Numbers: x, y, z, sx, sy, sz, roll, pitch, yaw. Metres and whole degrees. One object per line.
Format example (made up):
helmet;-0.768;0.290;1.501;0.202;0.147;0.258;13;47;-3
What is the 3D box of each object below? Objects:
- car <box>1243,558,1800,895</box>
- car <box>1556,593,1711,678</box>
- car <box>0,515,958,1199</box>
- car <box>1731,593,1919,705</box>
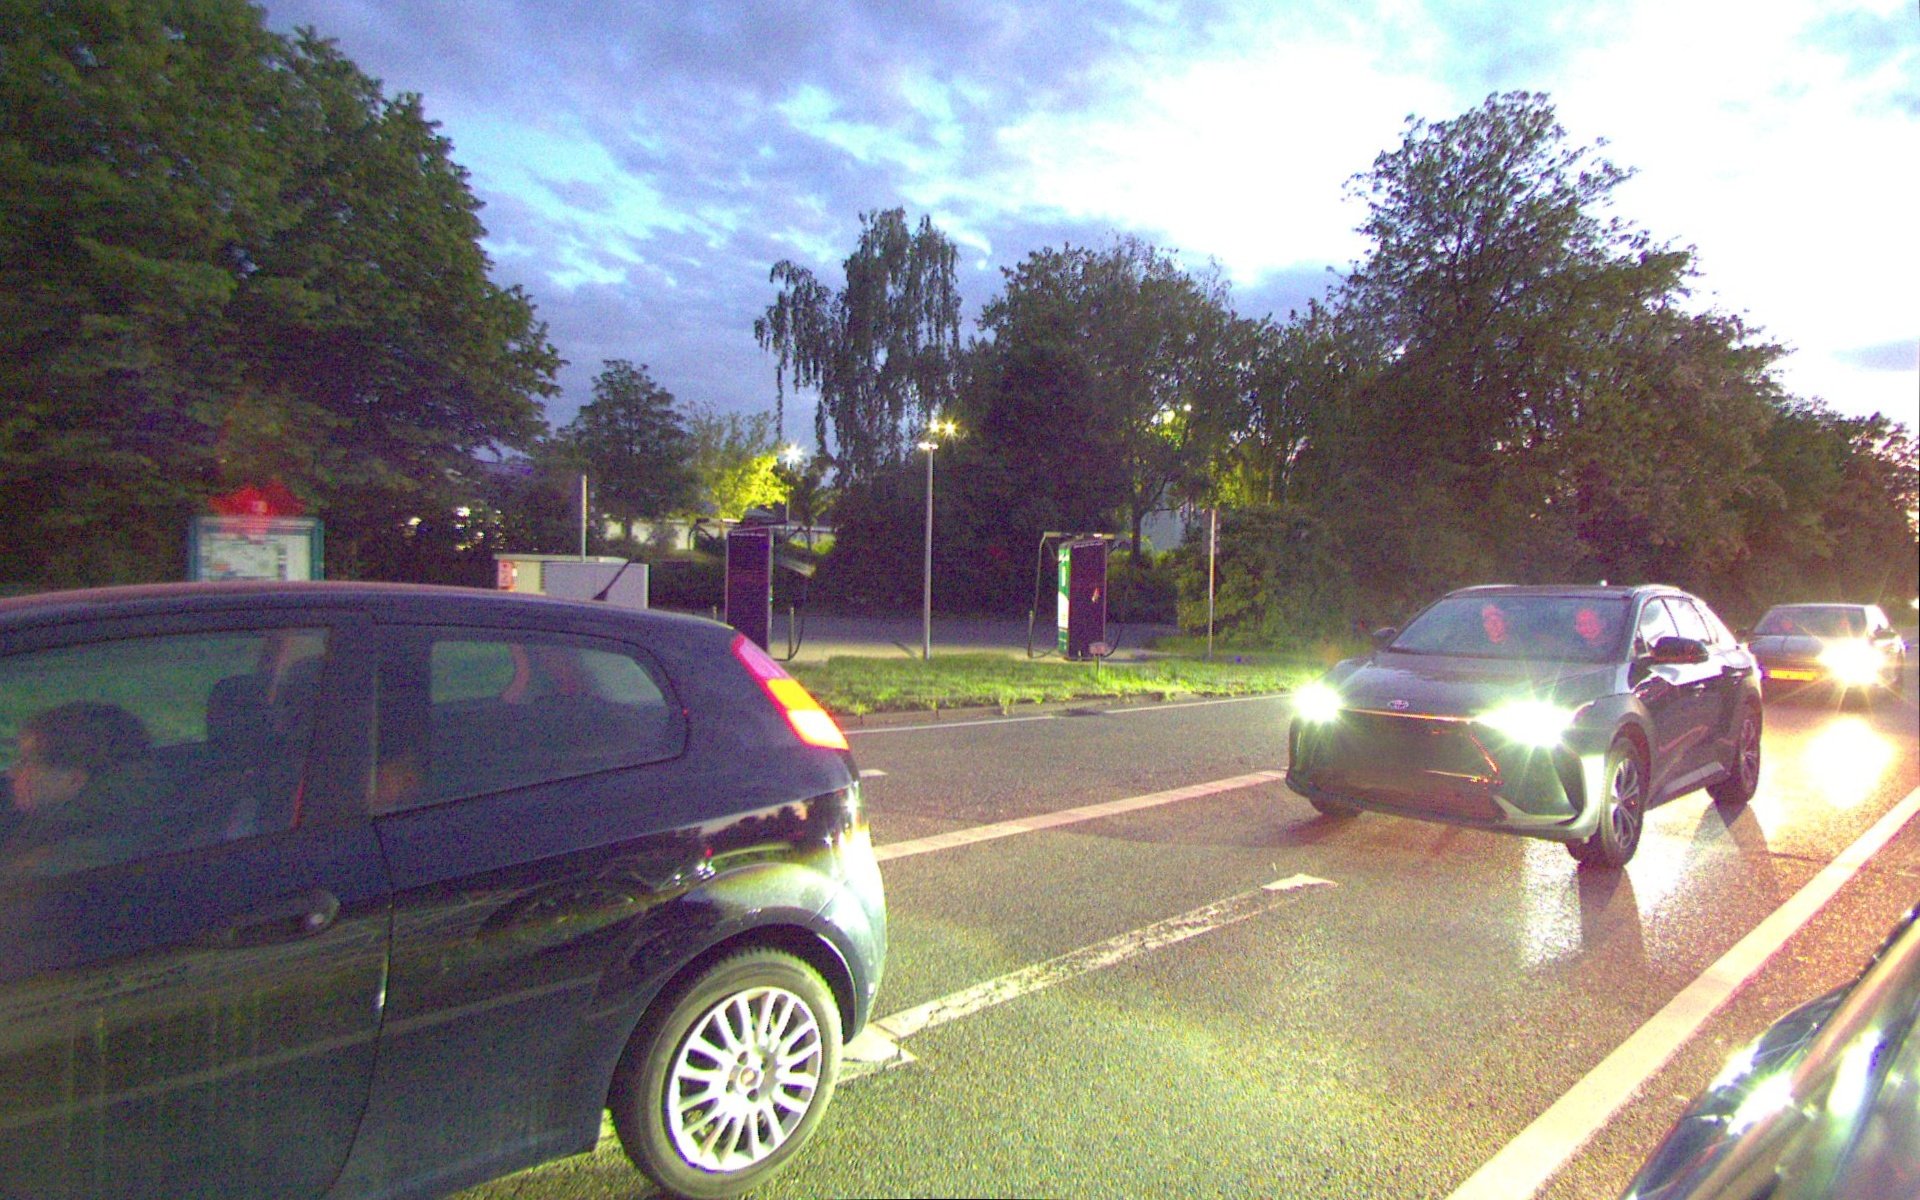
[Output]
car;4.186;0.599;7.171;4.629;1.630;1.997;0;0;-41
car;13.380;0.612;19.981;1.917;1.450;4.632;1;1;42
car;-2.089;0.626;2.144;4.032;1.540;1.674;0;1;-39
car;13.177;0.644;15.350;3.803;1.487;1.622;0;0;-41
